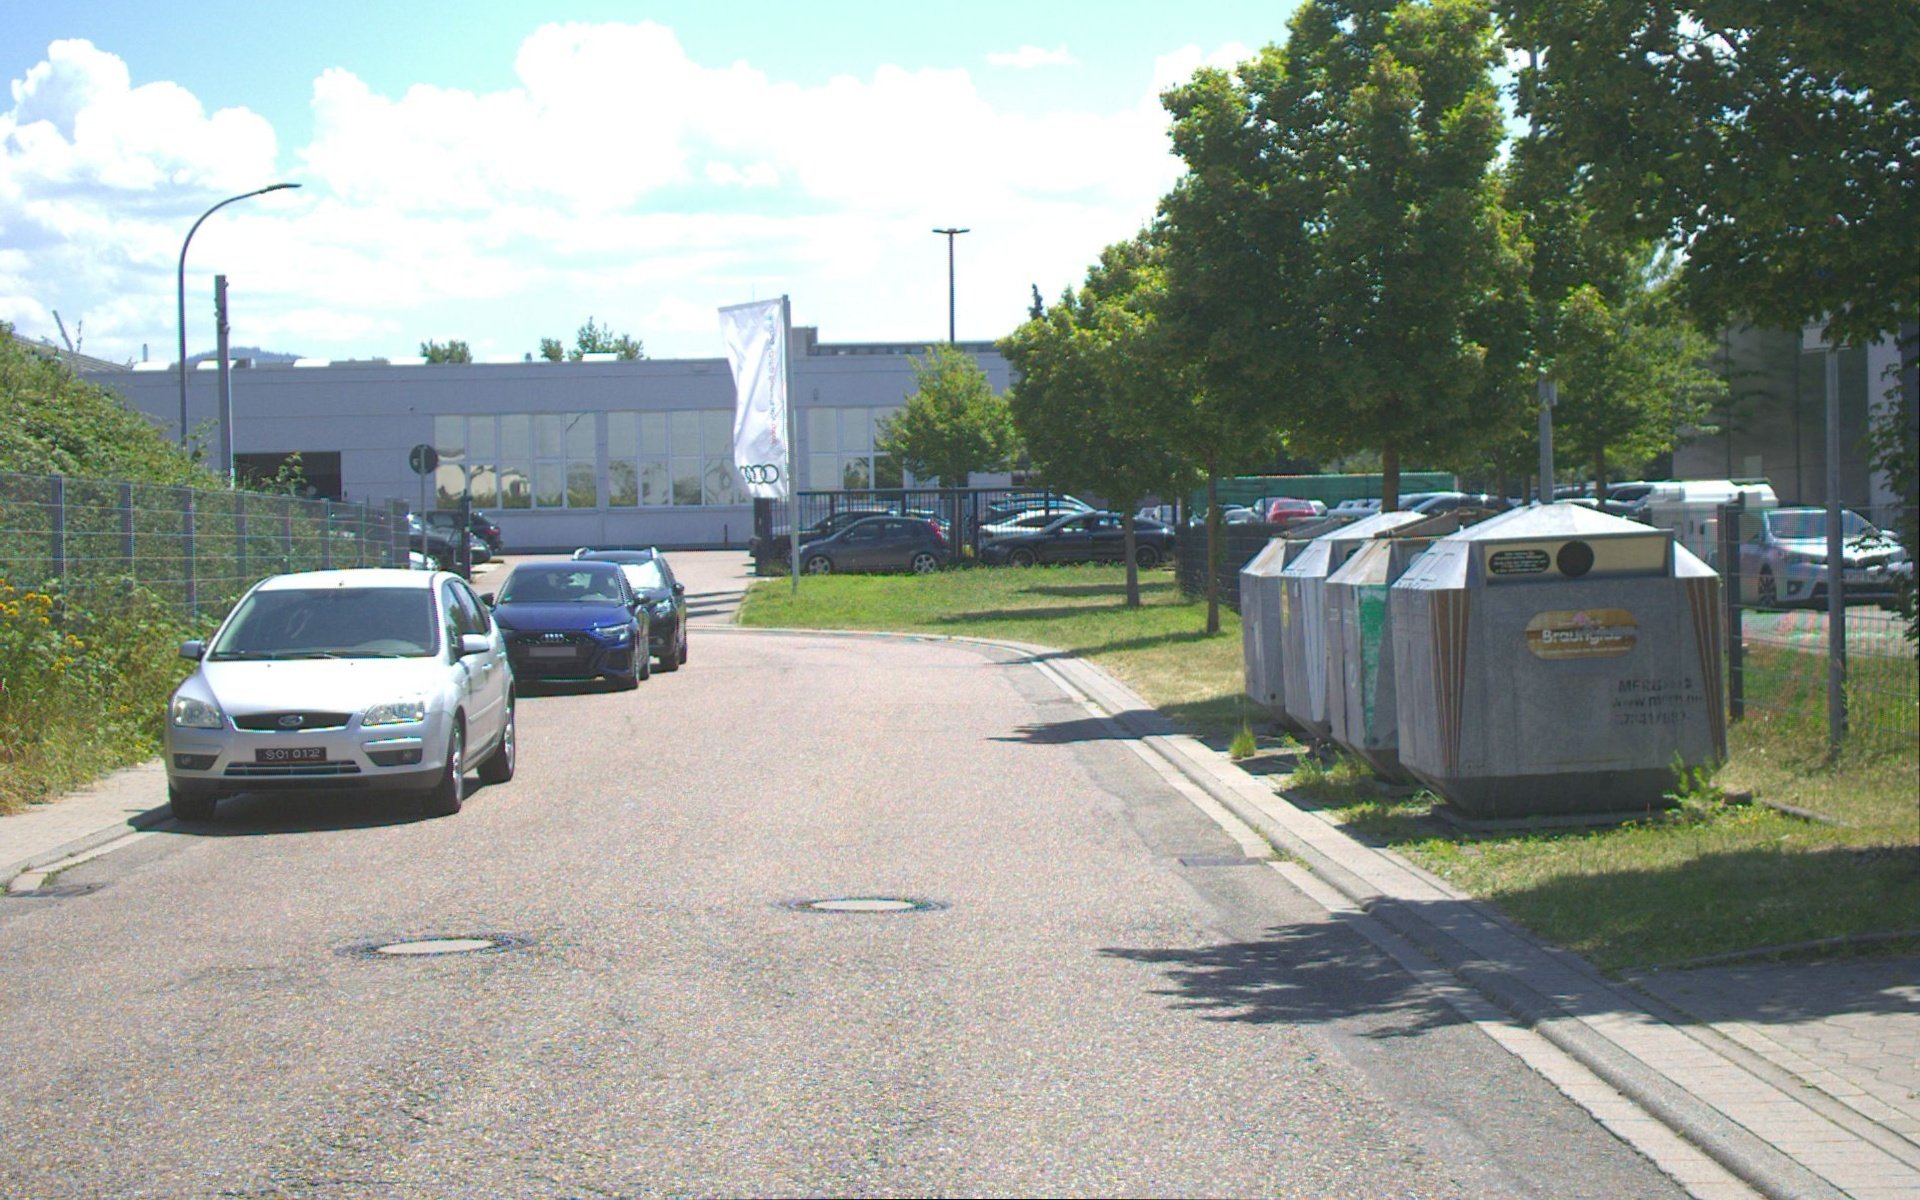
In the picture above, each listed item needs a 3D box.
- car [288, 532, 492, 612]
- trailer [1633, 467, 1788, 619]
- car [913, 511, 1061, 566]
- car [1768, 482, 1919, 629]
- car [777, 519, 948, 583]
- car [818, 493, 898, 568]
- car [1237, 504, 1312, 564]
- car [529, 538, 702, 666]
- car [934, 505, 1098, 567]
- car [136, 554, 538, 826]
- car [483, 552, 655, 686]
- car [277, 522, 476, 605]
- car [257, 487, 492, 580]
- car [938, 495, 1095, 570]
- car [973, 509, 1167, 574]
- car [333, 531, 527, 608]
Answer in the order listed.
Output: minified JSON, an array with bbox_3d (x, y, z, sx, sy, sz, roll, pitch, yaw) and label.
[{"bbox_3d":[-14.614,-0.724,88.368,4.883,1.916,2.000,-1,1,-1],"label":"car"},{"bbox_3d":[10.715,-0.850,49.252,1.493,2.000,3.264,-2,3,1],"label":"trailer"},{"bbox_3d":[0.739,-1.700,95.502,3.986,1.393,2.000,-1,-1,-2],"label":"car"},{"bbox_3d":[11.078,-0.494,40.224,1.880,1.517,4.469,-2,-2,-4],"label":"car"},{"bbox_3d":[-2.343,-1.157,81.874,3.986,1.393,2.000,-1,-1,-2],"label":"car"},{"bbox_3d":[-2.744,-1.831,91.779,1.993,1.821,4.000,-1,-1,-3],"label":"car"},{"bbox_3d":[10.409,-2.170,113.995,1.993,1.821,4.000,-1,-1,-1],"label":"car"},{"bbox_3d":[-4.423,-0.006,44.692,1.833,1.541,4.265,-2,1,-1],"label":"car"},{"bbox_3d":[1.390,-1.609,86.585,3.986,1.393,2.000,-1,-1,-2],"label":"car"},{"bbox_3d":[-3.923,0.497,22.367,1.833,1.541,4.367,-2,1,-1],"label":"car"},{"bbox_3d":[-4.444,0.176,39.516,1.656,1.412,4.146,-2,1,-3],"label":"car"},{"bbox_3d":[-14.512,-0.923,85.655,4.586,1.916,2.000,-1,1,-1],"label":"car"},{"bbox_3d":[-14.100,-1.605,83.047,5.317,2.090,2.000,-1,1,-1],"label":"car"},{"bbox_3d":[1.460,-1.766,90.182,3.986,1.821,2.000,-1,-1,-2],"label":"car"},{"bbox_3d":[2.593,-1.380,81.789,4.437,1.393,2.000,-1,-1,-2],"label":"car"},{"bbox_3d":[-14.231,-0.824,92.496,4.883,1.916,2.000,-1,1,-1],"label":"car"}]
